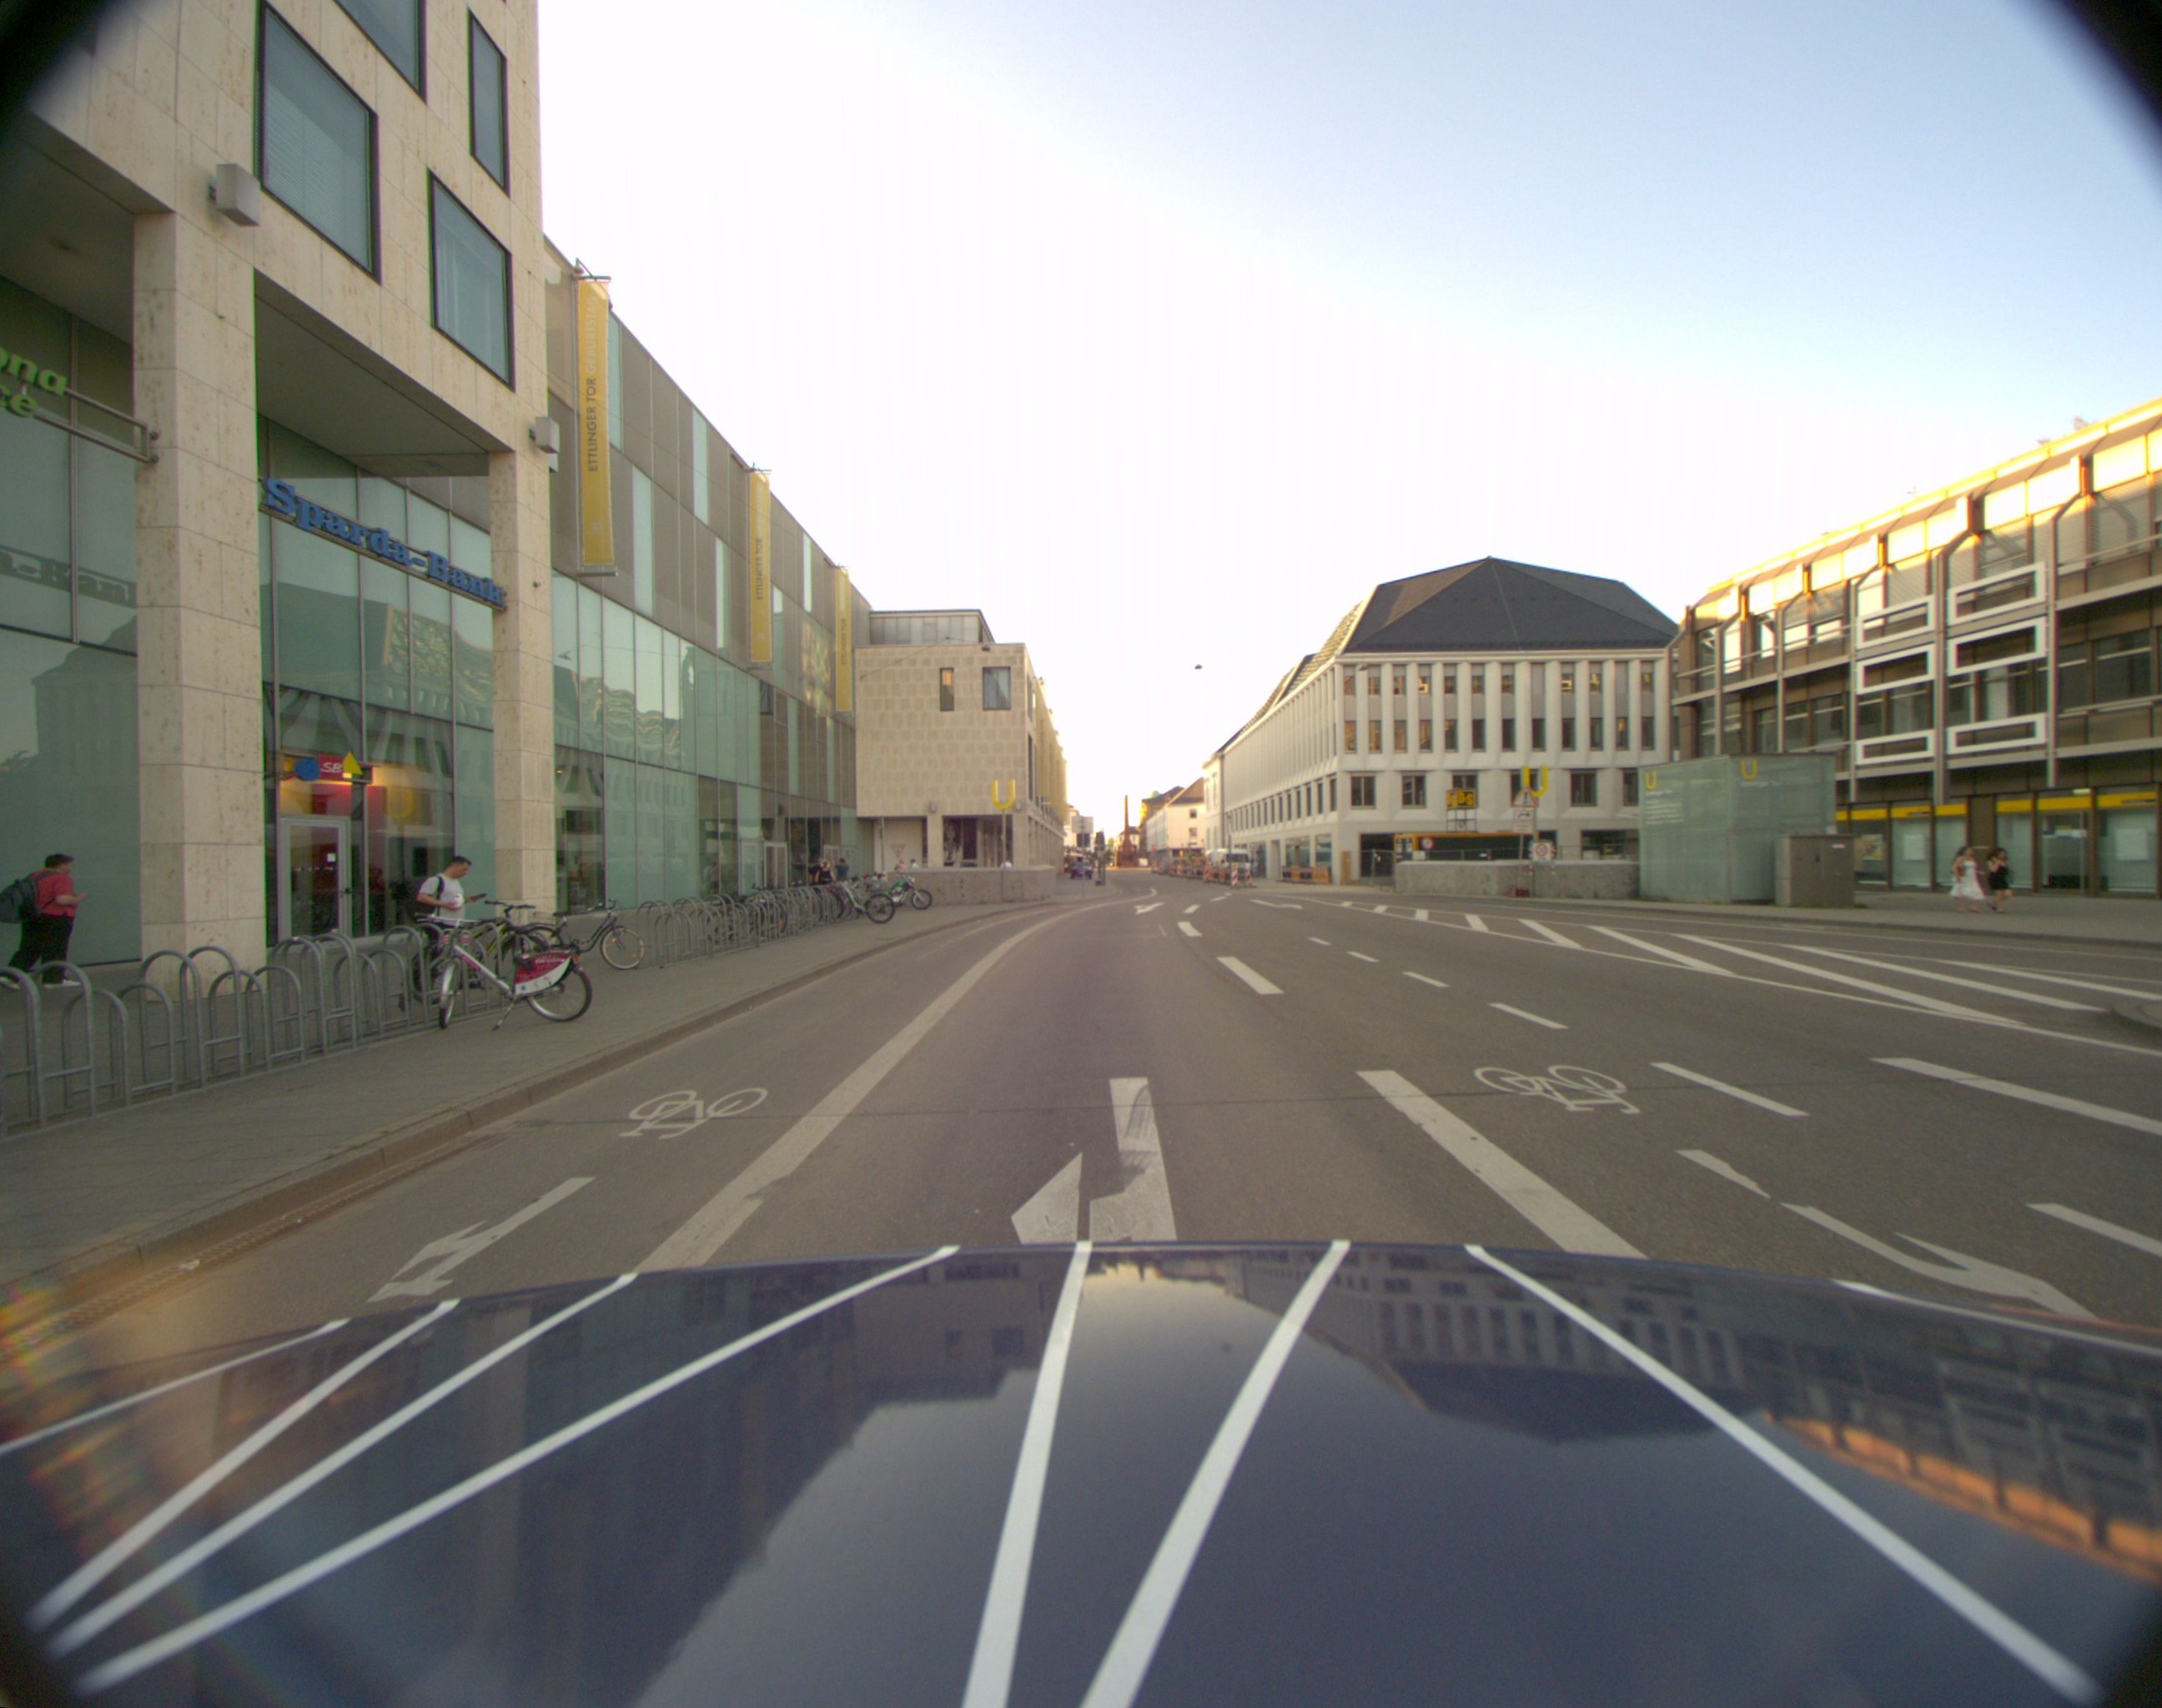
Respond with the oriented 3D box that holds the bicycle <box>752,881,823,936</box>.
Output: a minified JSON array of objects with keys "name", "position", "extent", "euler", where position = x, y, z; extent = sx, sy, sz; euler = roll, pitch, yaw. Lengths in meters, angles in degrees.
[{"name":"bicycle","position":[-6.640,1.227,17.224],"extent":[1.345,1.157,0.518],"euler":[-3,0,-1]}]

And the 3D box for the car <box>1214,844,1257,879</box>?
[{"name":"car","position":[11.987,0.569,59.317],"extent":[2.141,2.540,6.050],"euler":[-1,0,1]}]

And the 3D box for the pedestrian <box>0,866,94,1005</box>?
[{"name":"pedestrian","position":[-13.009,0.979,9.405],"extent":[0.629,1.642,0.708],"euler":[-1,0,2]}]

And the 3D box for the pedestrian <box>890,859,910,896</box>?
[{"name":"pedestrian","position":[-8.648,1.117,36.325],"extent":[0.793,1.733,0.657],"euler":[-1,0,3]}]

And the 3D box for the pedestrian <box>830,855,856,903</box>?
[{"name":"pedestrian","position":[-8.511,0.875,27.172],"extent":[0.698,1.686,0.820],"euler":[-1,0,-3]}]

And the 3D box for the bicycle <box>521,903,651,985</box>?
[{"name":"bicycle","position":[-7.280,1.306,11.218],"extent":[1.447,1.058,0.580],"euler":[-3,0,-10]}]

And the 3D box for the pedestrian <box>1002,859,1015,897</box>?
[{"name":"pedestrian","position":[-3.350,1.103,35.111],"extent":[0.516,1.733,0.493],"euler":[-1,0,3]}]

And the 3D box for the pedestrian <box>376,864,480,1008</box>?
[{"name":"pedestrian","position":[-7.955,0.973,9.282],"extent":[0.707,1.682,0.629],"euler":[-1,0,-4]}]

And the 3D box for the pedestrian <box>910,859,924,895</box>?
[{"name":"pedestrian","position":[-7.907,1.088,36.691],"extent":[0.494,1.733,0.657],"euler":[-1,0,3]}]

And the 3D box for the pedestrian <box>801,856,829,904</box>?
[{"name":"pedestrian","position":[-9.324,0.911,26.672],"extent":[0.741,1.638,0.820],"euler":[-1,0,-8]}]

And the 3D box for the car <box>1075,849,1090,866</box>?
[{"name":"car","position":[0.215,0.490,100.786],"extent":[1.798,2.198,3.671],"euler":[-1,0,2]}]

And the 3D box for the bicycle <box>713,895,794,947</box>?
[{"name":"bicycle","position":[-6.576,1.343,15.295],"extent":[1.345,0.927,0.518],"euler":[-3,0,-1]}]

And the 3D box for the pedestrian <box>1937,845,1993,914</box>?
[{"name":"pedestrian","position":[21.198,0.604,18.228],"extent":[0.670,1.629,0.584],"euler":[-1,0,1]}]

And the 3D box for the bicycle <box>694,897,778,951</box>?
[{"name":"bicycle","position":[-6.634,1.334,14.649],"extent":[1.345,0.927,0.518],"euler":[-3,0,-1]}]

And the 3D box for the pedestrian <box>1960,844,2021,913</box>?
[{"name":"pedestrian","position":[21.828,0.583,18.254],"extent":[0.616,1.629,0.703],"euler":[-1,0,1]}]

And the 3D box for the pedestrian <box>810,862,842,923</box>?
[{"name":"pedestrian","position":[-7.059,1.048,21.063],"extent":[0.809,1.633,0.646],"euler":[-1,0,-18]}]

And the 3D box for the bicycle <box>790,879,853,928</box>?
[{"name":"bicycle","position":[-6.585,1.254,19.309],"extent":[1.345,1.157,0.518],"euler":[-3,0,-1]}]

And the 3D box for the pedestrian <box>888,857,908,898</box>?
[{"name":"pedestrian","position":[-7.984,1.012,33.249],"extent":[0.619,1.770,0.812],"euler":[-1,0,3]}]

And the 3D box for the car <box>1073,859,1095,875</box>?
[{"name":"car","position":[0.331,1.171,67.972],"extent":[1.798,1.365,3.671],"euler":[-1,0,2]}]

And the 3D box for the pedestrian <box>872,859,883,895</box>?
[{"name":"pedestrian","position":[-9.633,1.089,36.043],"extent":[0.364,1.733,0.452],"euler":[-1,0,3]}]

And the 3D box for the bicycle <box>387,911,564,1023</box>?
[{"name":"bicycle","position":[-6.775,1.250,8.538],"extent":[1.518,1.117,0.581],"euler":[-3,0,4]}]

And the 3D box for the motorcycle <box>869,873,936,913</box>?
[{"name":"motorcycle","position":[-5.694,1.230,24.231],"extent":[2.007,1.217,0.480],"euler":[-1,0,-3]}]

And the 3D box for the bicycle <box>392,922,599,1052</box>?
[{"name":"bicycle","position":[-5.374,1.210,7.013],"extent":[1.518,1.057,0.466],"euler":[-3,0,1]}]

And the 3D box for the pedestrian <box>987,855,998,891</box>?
[{"name":"pedestrian","position":[-4.282,0.902,36.696],"extent":[0.454,1.733,0.493],"euler":[-1,0,3]}]

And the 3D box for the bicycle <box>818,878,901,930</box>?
[{"name":"bicycle","position":[-5.370,1.208,18.466],"extent":[1.838,1.140,0.466],"euler":[-3,0,1]}]
